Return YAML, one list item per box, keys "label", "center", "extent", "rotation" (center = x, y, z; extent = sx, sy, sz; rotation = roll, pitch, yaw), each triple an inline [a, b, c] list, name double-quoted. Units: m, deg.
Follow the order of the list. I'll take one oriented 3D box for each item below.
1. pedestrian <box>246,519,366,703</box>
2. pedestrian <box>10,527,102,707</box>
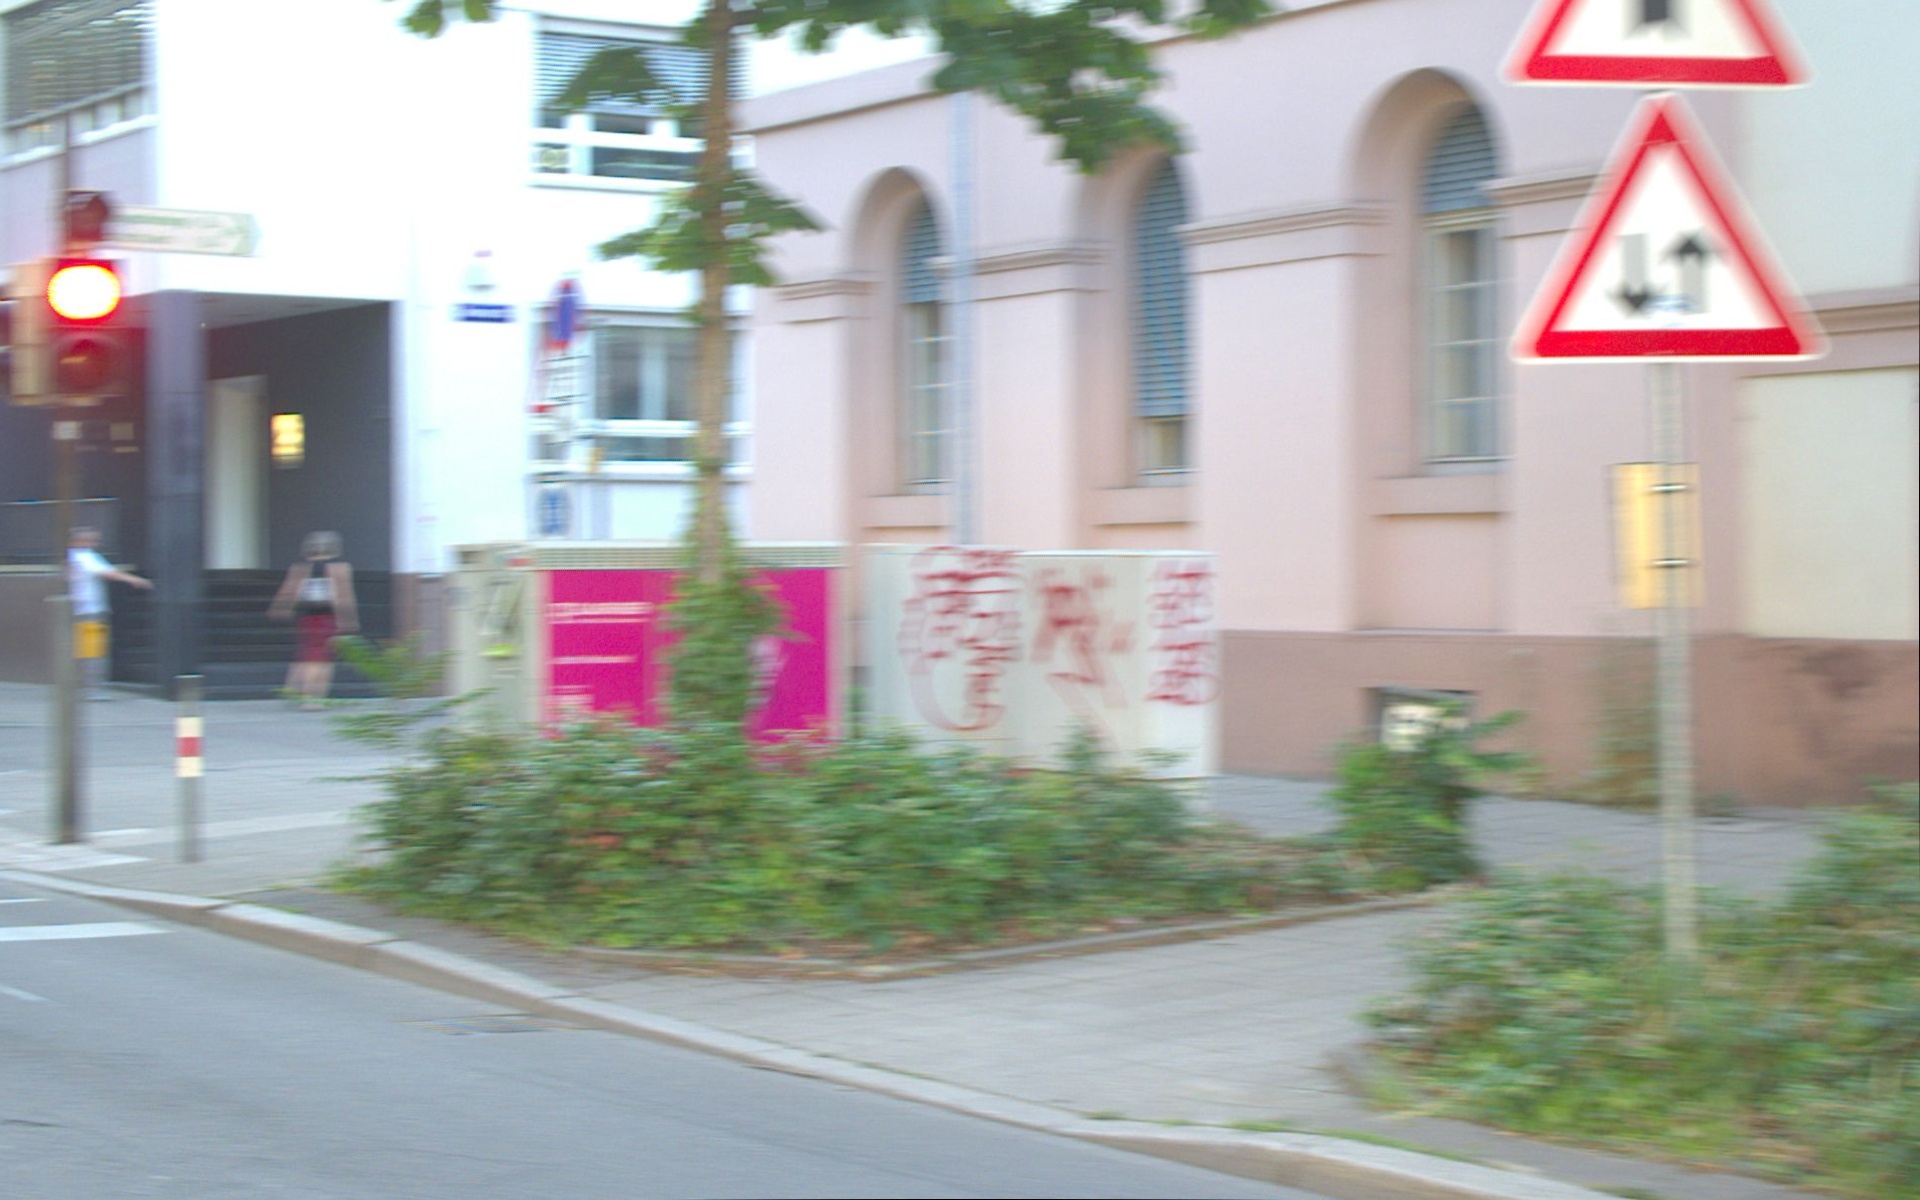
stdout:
- label: "pedestrian"
  center: [-6.315, 0.101, 33.225]
  extent: [0.930, 1.746, 0.771]
  rotation: [1, 0, 8]
- label: "pedestrian"
  center: [-8.903, 0.159, 33.839]
  extent: [0.704, 1.746, 0.699]
  rotation: [0, 1, -30]
